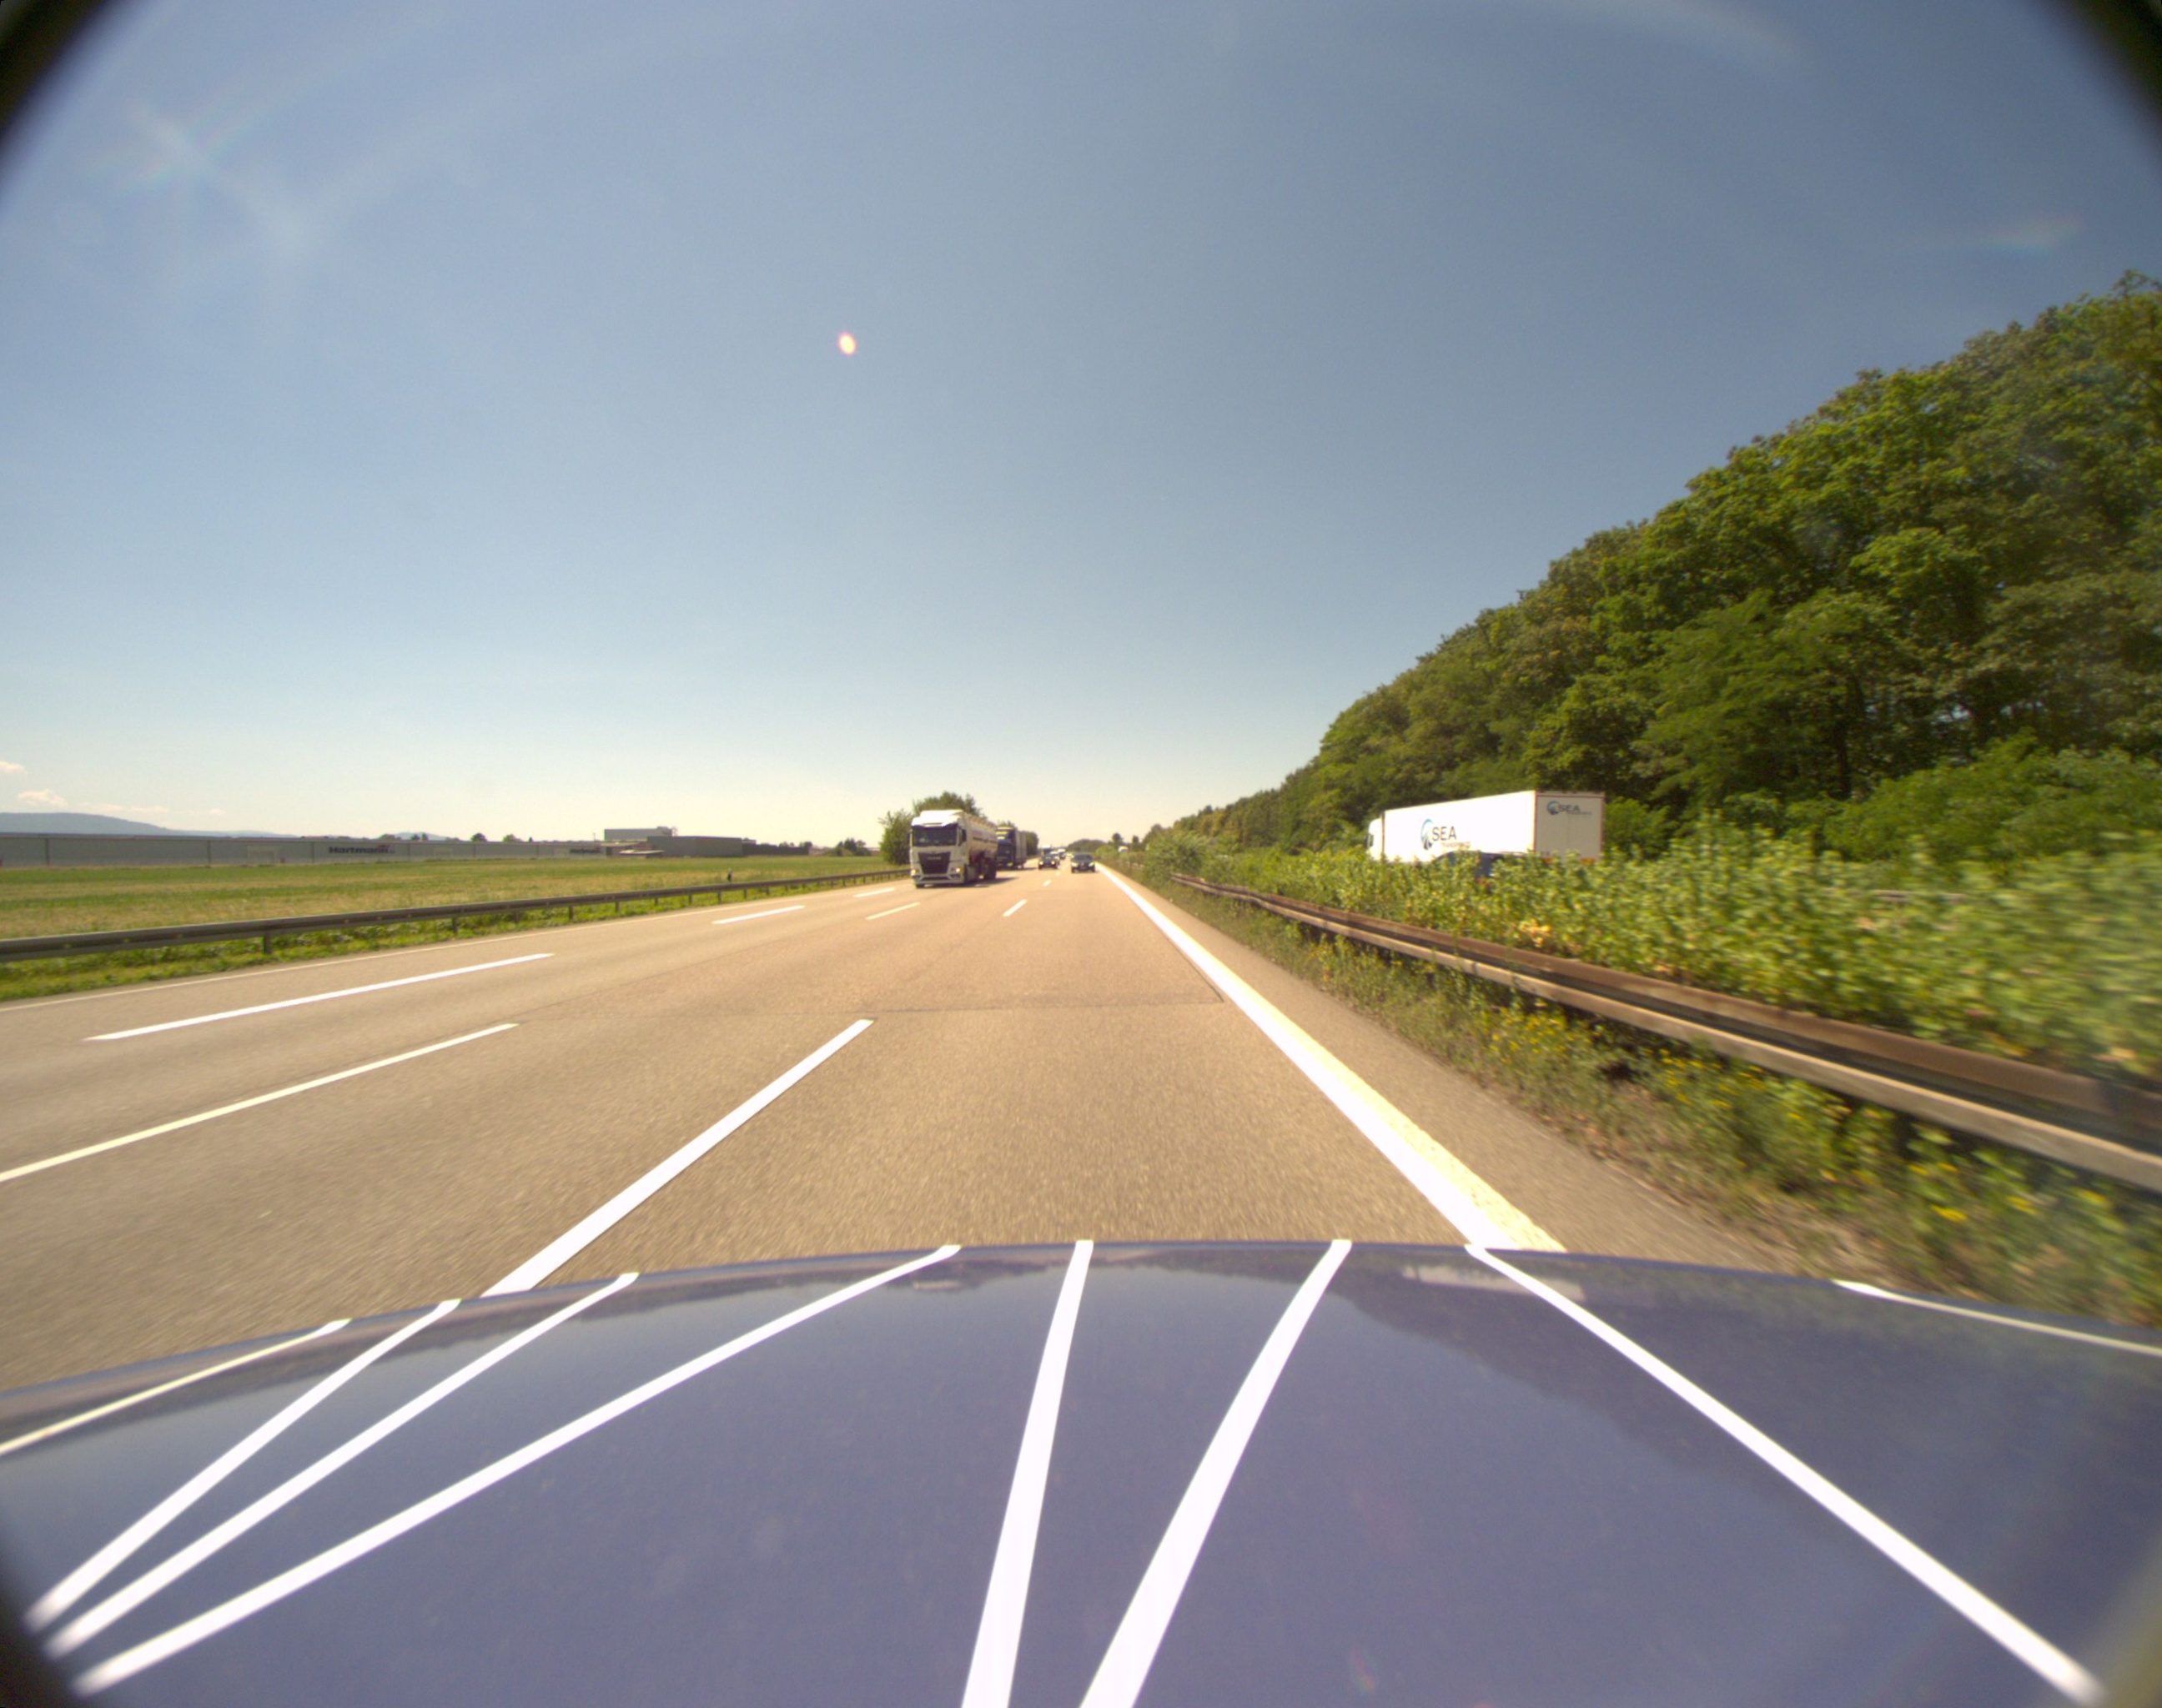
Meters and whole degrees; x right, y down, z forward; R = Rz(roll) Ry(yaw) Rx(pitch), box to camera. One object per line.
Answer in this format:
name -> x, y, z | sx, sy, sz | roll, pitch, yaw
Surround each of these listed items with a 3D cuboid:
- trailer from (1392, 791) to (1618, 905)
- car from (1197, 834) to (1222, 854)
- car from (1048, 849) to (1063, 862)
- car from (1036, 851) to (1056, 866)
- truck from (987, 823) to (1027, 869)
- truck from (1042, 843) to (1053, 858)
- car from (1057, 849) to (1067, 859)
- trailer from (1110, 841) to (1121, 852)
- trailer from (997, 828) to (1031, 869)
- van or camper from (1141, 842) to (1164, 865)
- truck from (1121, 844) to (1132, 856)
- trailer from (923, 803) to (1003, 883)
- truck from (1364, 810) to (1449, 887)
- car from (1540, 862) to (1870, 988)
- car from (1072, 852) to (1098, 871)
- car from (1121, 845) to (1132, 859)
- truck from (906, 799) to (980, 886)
trailer -> 17.697, -0.262, 33.436 | 2.841, 4.011, 12.913 | 1, 0, 1
car -> 13.935, -1.062, 82.458 | 2.054, 2.002, 4.000 | -1, 0, 1
car -> -3.338, 0.208, 99.907 | 1.887, 1.634, 3.999 | -1, 0, -1
car -> -3.363, 0.420, 73.851 | 1.841, 1.409, 4.496 | -1, 0, -2
truck -> -7.295, -0.771, 76.118 | 2.797, 4.180, 10.806 | -1, 0, 0
truck -> -9.486, -1.003, 217.324 | 2.798, 4.180, 10.804 | -1, 0, -2
car -> -4.016, -0.078, 162.276 | 1.999, 2.002, 3.999 | -1, 0, -1
trailer -> 12.139, -2.558, 269.678 | 2.877, 3.986, 13.516 | -1, 0, -1
trailer -> -7.285, -0.617, 84.102 | 2.797, 4.180, 10.806 | -1, 0, 0
van or camper -> 9.011, -0.069, 96.277 | 1.999, 2.829, 6.999 | -1, 0, -1
truck -> 15.659, -1.335, 260.218 | 3.021, 4.090, 9.998 | -1, 0, -1
trailer -> -6.876, -0.610, 46.548 | 2.797, 4.180, 12.352 | -1, 0, 1
truck -> 17.760, -0.295, 41.696 | 2.841, 4.011, 4.184 | 1, 1, 1
car -> 9.092, 0.925, 11.598 | 1.774, 1.502, 4.000 | -1, 0, 1
car -> 0.276, 0.560, 59.059 | 1.887, 1.341, 4.466 | -1, 0, -2
car -> 9.424, -0.382, 158.334 | 1.998, 2.809, 4.596 | -1, 0, 0
truck -> -6.977, -0.566, 39.104 | 2.797, 4.180, 5.000 | -1, 0, 1
